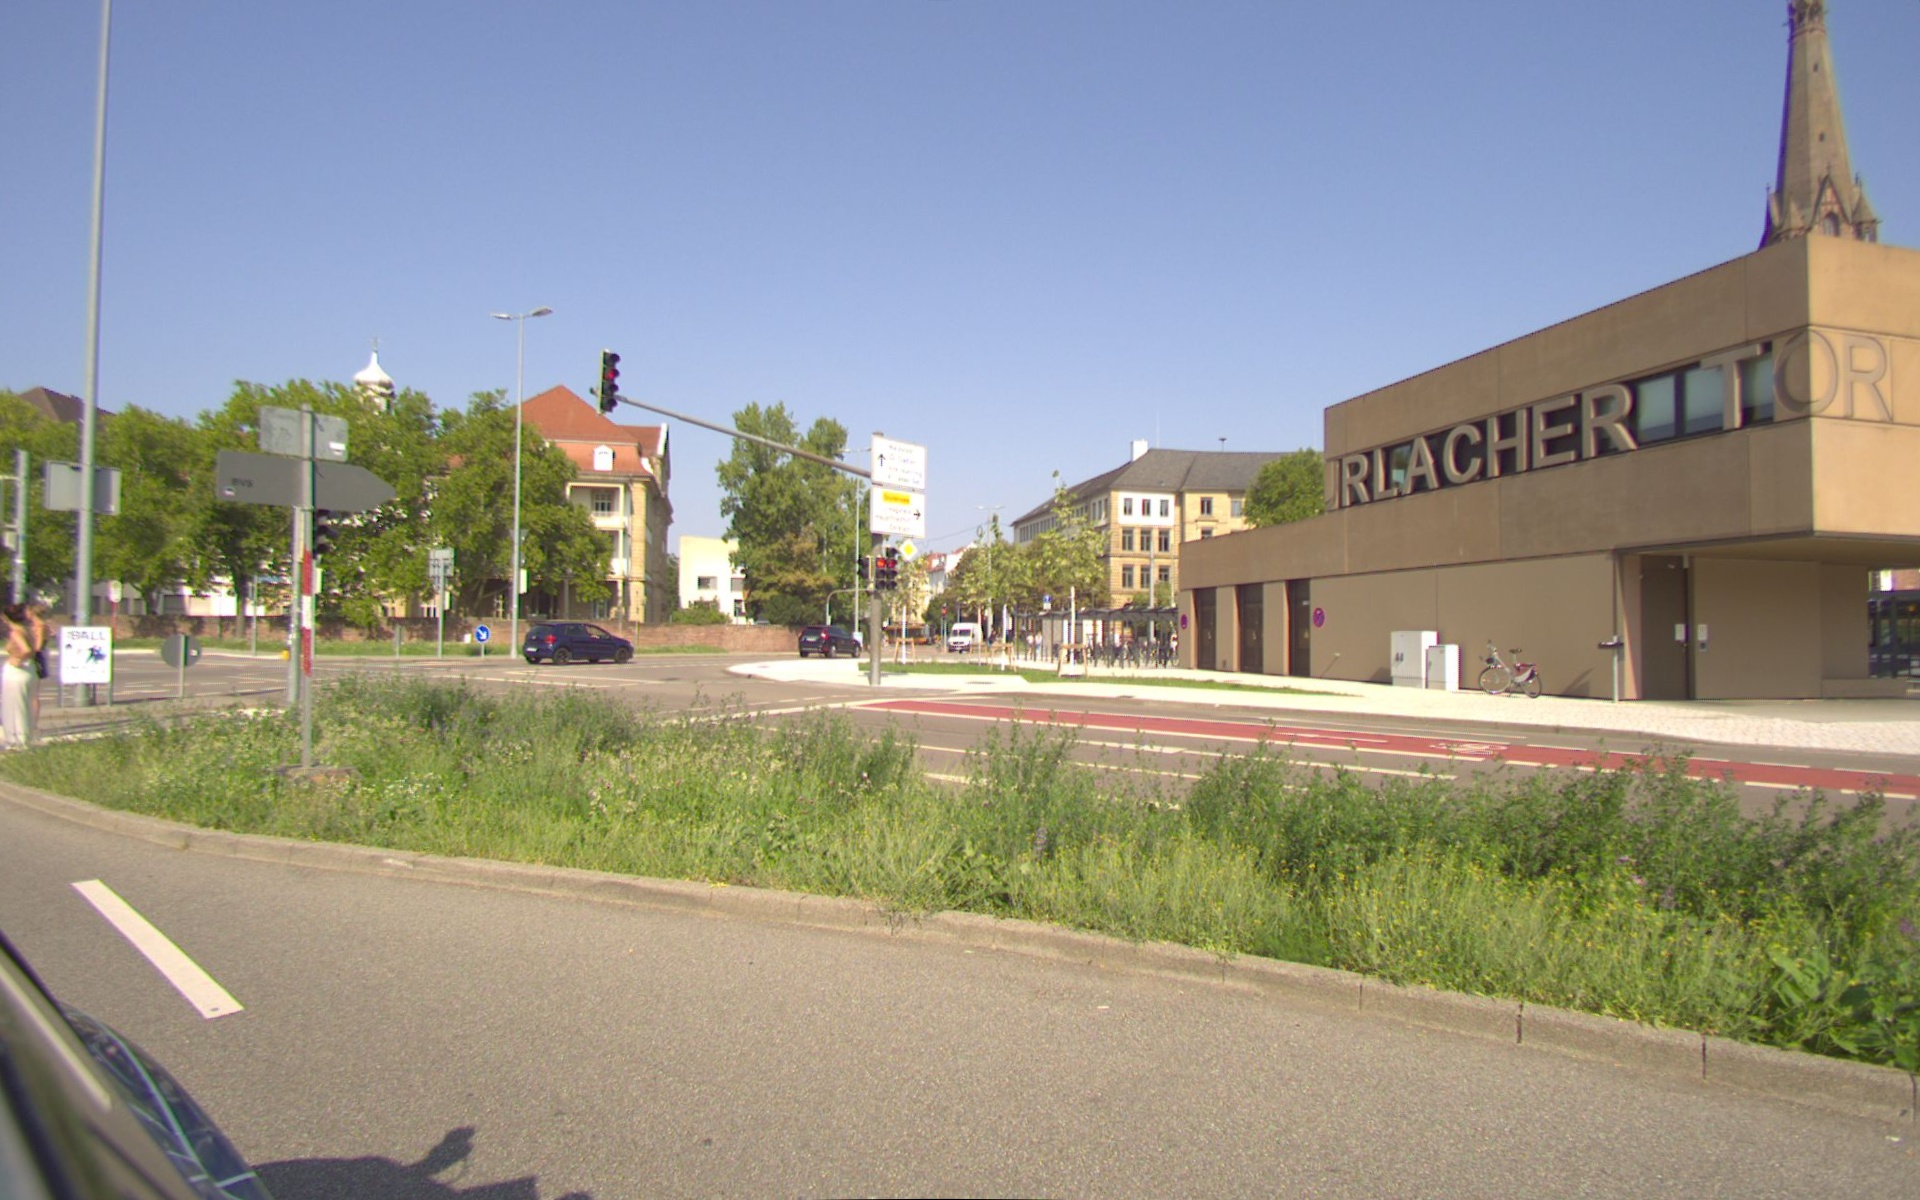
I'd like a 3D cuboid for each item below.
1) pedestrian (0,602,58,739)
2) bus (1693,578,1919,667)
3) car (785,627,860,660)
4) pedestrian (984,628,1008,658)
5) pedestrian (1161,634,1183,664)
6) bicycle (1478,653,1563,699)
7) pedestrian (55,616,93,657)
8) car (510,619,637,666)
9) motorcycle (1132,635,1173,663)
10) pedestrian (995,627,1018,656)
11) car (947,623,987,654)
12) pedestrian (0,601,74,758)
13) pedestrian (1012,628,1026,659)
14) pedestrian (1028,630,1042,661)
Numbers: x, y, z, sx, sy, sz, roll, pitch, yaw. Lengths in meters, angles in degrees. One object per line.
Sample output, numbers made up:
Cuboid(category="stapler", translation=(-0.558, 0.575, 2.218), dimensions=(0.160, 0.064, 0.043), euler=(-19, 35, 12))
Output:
Cuboid(category="pedestrian", translation=(-12.173, 0.897, 13.032), dimensions=(0.690, 1.712, 0.660), euler=(-2, -3, 37))
Cuboid(category="bus", translation=(33.401, 0.834, 35.946), dimensions=(3.244, 3.000, 12.829), euler=(1, -2, -14))
Cuboid(category="car", translation=(-7.038, 2.217, 52.273), dimensions=(1.986, 1.646, 4.340), euler=(-1, -2, 21))
Cuboid(category="pedestrian", translation=(2.476, 2.910, 69.011), dimensions=(1.205, 2.029, 1.331), euler=(-1, -3, 26))
Cuboid(category="pedestrian", translation=(12.627, 2.916, 60.218), dimensions=(0.847, 1.774, 1.010), euler=(1, -3, -27))
Cuboid(category="bicycle", translation=(11.302, 1.512, 20.456), dimensions=(0.583, 0.844, 1.551), euler=(-2, -2, -13))
Cuboid(category="pedestrian", translation=(-44.734, 1.826, 51.098), dimensions=(1.312, 2.029, 1.069), euler=(-1, -2, 29))
Cuboid(category="car", translation=(-13.138, 1.429, 34.598), dimensions=(1.621, 1.509, 3.806), euler=(-1, -2, 34))
Cuboid(category="motorcycle", translation=(10.433, 2.638, 54.938), dimensions=(0.776, 1.460, 2.779), euler=(1, -2, -21))
Cuboid(category="pedestrian", translation=(3.246, 2.898, 70.790), dimensions=(1.205, 2.029, 1.331), euler=(-1, -3, 26))
Cuboid(category="car", translation=(0.680, 3.291, 87.054), dimensions=(1.982, 2.470, 5.522), euler=(-1, 0, 16))
Cuboid(category="pedestrian", translation=(-10.406, 0.859, 11.151), dimensions=(0.657, 1.667, 0.781), euler=(1, -3, -16))
Cuboid(category="pedestrian", translation=(3.919, 2.903, 66.920), dimensions=(0.852, 2.029, 1.004), euler=(0, -2, 9))
Cuboid(category="pedestrian", translation=(4.956, 3.020, 66.663), dimensions=(0.852, 2.029, 1.004), euler=(0, -2, 9))
